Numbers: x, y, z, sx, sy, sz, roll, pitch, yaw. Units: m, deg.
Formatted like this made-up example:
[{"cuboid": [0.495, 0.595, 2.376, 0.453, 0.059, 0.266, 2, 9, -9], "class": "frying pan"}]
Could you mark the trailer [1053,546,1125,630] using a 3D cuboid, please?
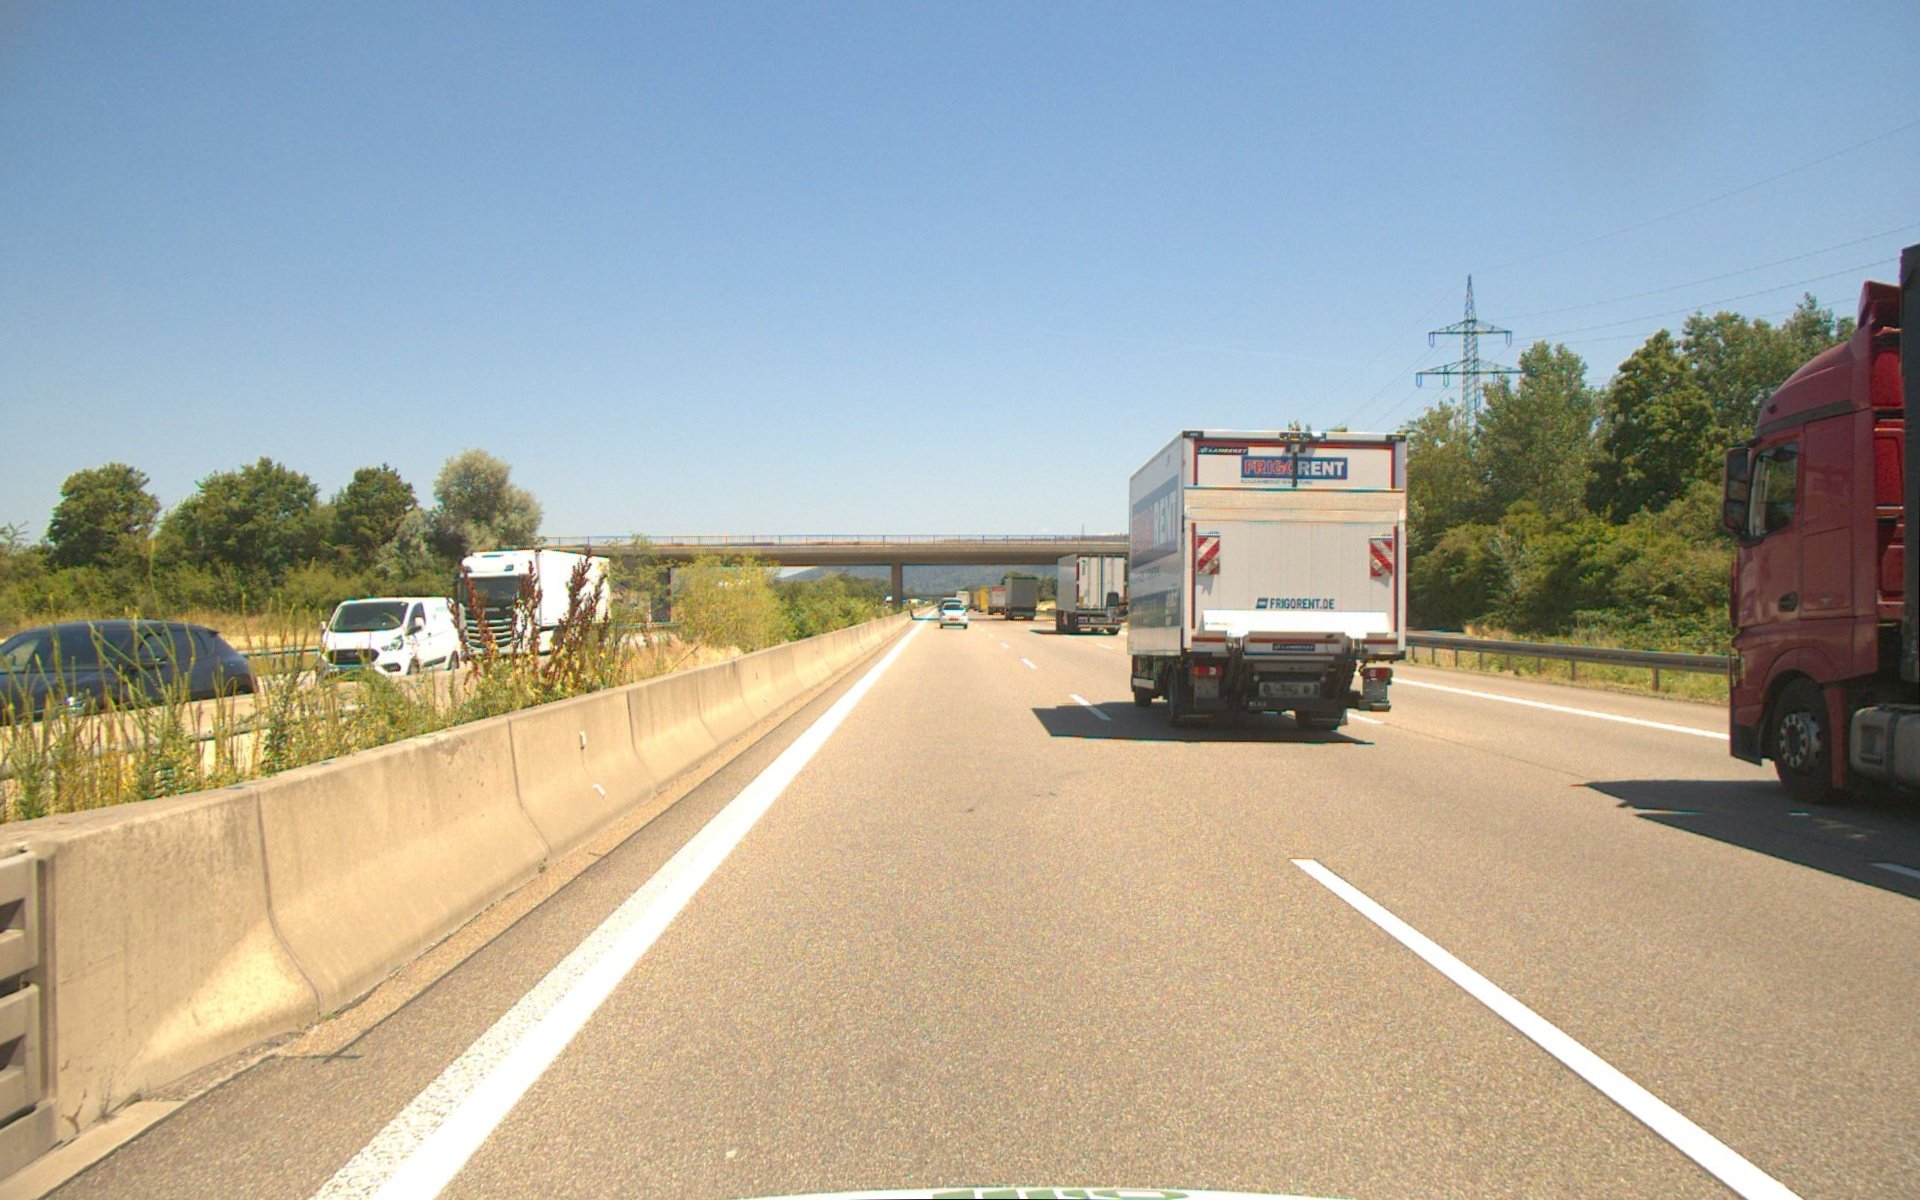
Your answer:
[{"cuboid": [6.893, -0.594, 90.321, 2.738, 4.237, 13.954, 0, 0, 0], "class": "trailer"}]

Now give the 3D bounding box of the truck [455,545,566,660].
[{"cuboid": [-17.002, 0.099, 62.914, 2.626, 4.085, 5.754, -2, 0, -1], "class": "truck"}]

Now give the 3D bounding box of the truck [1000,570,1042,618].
[{"cuboid": [6.076, -0.589, 166.677, 3.449, 4.493, 14.588, -1, 0, -1], "class": "truck"}]

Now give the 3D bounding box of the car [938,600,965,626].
[{"cuboid": [-0.515, 0.752, 99.887, 1.574, 1.493, 4.000, -1, 0, 0], "class": "car"}]

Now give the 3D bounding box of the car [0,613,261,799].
[{"cuboid": [-8.752, 0.983, 16.736, 1.731, 1.607, 3.817, -2, 0, -1], "class": "car"}]

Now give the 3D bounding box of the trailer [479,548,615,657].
[{"cuboid": [-17.149, 0.095, 69.798, 2.640, 4.085, 12.964, -2, 0, -1], "class": "trailer"}]

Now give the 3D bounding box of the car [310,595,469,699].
[{"cuboid": [-12.367, 0.955, 36.191, 1.844, 2.022, 4.738, -3, 0, -1], "class": "car"}]

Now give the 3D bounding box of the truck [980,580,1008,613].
[{"cuboid": [4.735, -0.413, 235.798, 3.449, 4.493, 14.588, -1, 0, -1], "class": "truck"}]

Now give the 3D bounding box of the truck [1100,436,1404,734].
[{"cuboid": [3.734, -0.165, 23.259, 2.726, 3.432, 8.126, 1, 0, -1], "class": "truck"}]

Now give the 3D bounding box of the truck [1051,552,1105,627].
[{"cuboid": [6.881, -0.596, 97.094, 2.738, 4.237, 5.722, 0, 0, 0], "class": "truck"}]

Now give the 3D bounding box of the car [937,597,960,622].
[{"cuboid": [-0.878, 0.749, 131.196, 1.724, 1.883, 4.000, -1, 0, 0], "class": "car"}]

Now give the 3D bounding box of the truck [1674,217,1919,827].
[{"cuboid": [8.028, -0.539, 12.558, 2.738, 4.237, 5.722, 0, 0, 0], "class": "truck"}]

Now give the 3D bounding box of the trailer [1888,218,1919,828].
[{"cuboid": [8.098, -0.533, 5.103, 2.732, 4.237, 13.572, 0, 0, -1], "class": "trailer"}]
